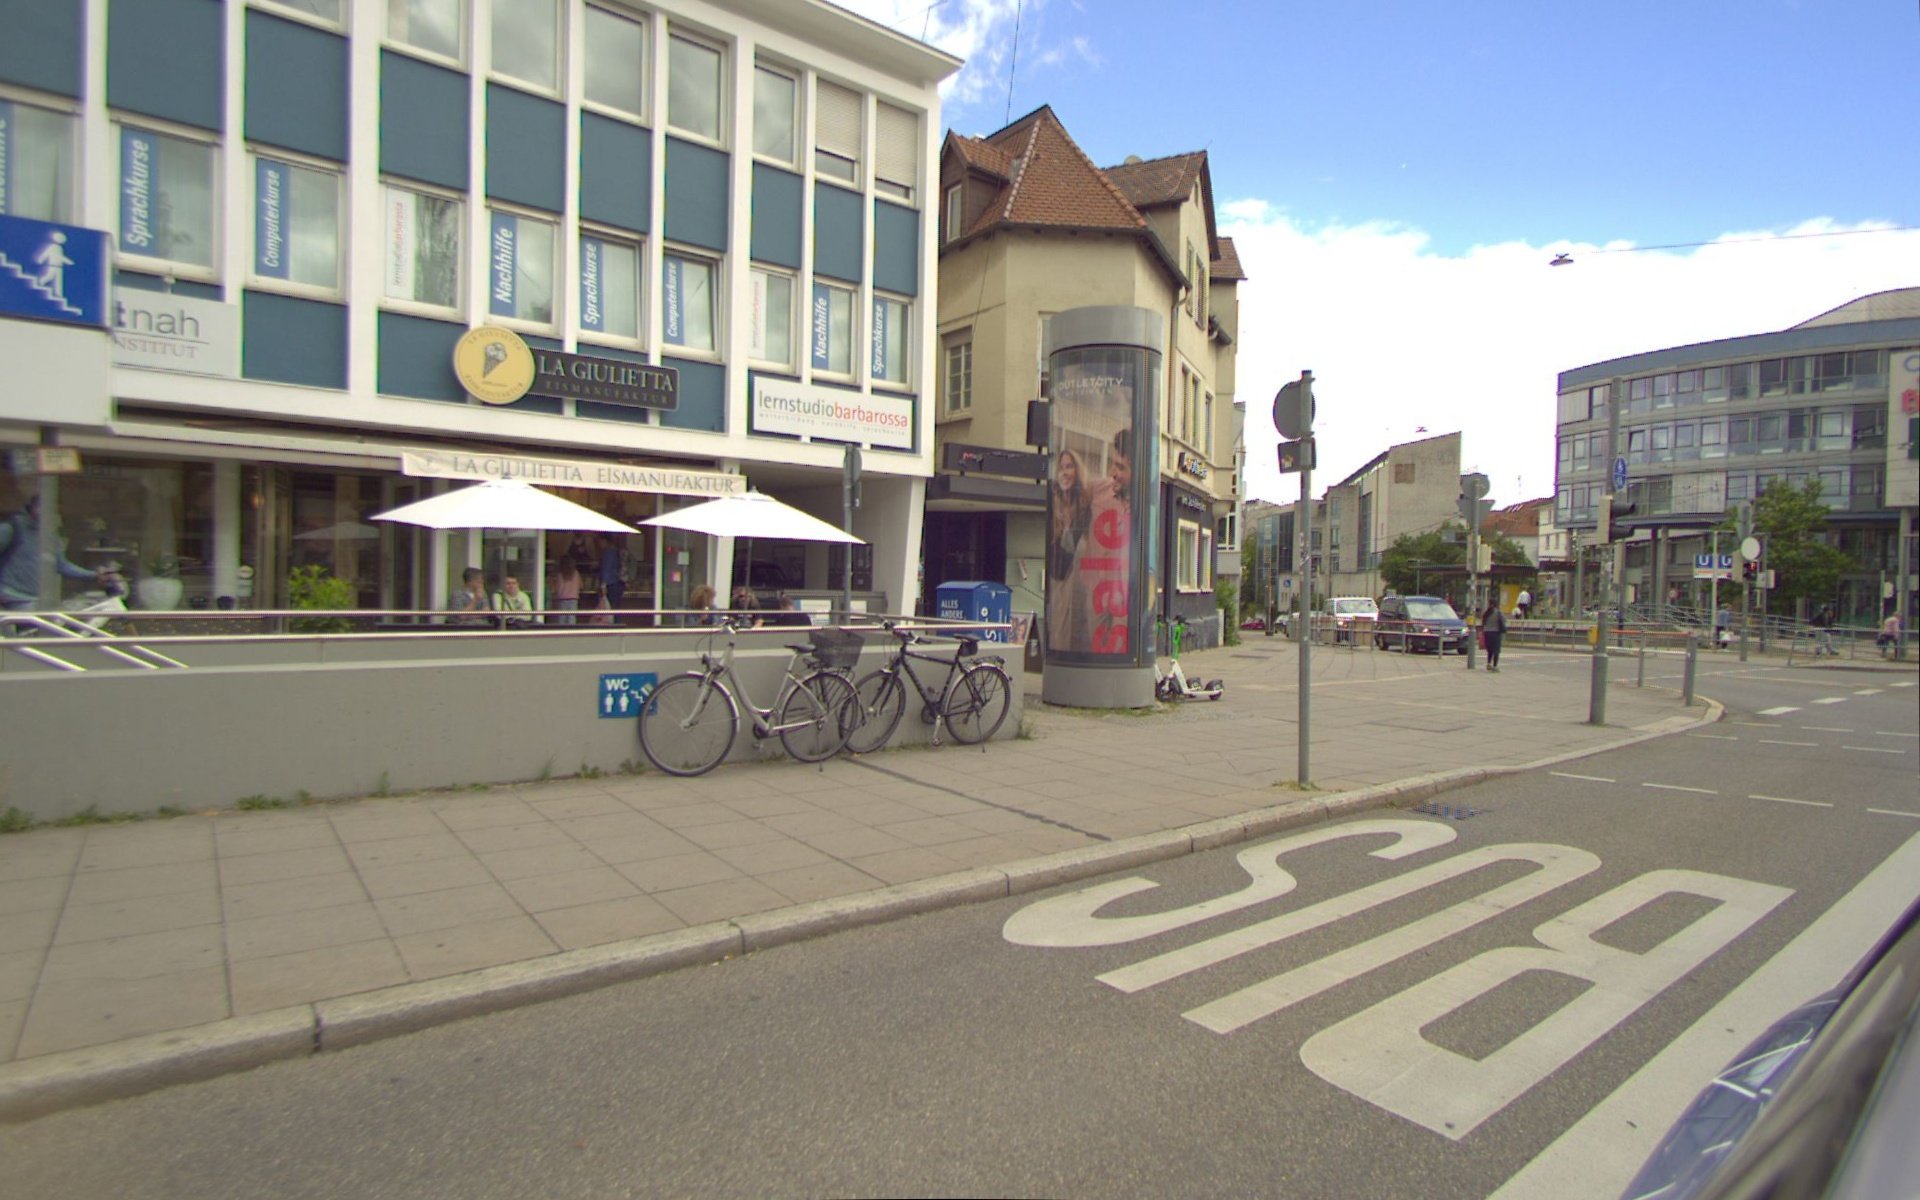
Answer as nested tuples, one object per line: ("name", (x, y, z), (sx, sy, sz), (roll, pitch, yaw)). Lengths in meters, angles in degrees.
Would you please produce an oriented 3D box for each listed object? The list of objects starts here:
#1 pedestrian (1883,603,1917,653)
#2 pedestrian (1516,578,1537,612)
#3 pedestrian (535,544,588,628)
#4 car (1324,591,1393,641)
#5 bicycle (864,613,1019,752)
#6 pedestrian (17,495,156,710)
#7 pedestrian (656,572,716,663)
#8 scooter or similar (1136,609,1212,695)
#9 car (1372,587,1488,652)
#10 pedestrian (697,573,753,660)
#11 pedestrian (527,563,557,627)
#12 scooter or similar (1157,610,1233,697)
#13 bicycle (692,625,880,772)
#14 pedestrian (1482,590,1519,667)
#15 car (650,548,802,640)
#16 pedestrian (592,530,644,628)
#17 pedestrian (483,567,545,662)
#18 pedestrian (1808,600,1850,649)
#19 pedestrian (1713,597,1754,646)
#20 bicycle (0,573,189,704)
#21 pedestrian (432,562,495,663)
("pedestrian", (30.977, 0.920, 33.352), (0.578, 1.656, 0.525), (-1, -2, 6))
("pedestrian", (29.589, -0.271, 52.857), (0.682, 1.766, 0.615), (0, -2, -2))
("pedestrian", (-6.008, -0.192, 15.255), (0.577, 1.236, 0.614), (1, -3, -39))
("car", (16.402, 0.613, 41.846), (1.852, 1.919, 4.909), (1, 1, 12))
("bicycle", (-0.133, 0.649, 8.376), (1.361, 1.066, 0.274), (1, 1, -38))
("pedestrian", (-7.118, 0.017, 8.286), (0.786, 1.655, 0.668), (1, 0, -37))
("pedestrian", (-3.870, 0.236, 14.299), (0.577, 1.235, 0.614), (1, 1, -41))
("scooter or similar", (2.998, 0.708, 14.144), (1.186, 1.147, 0.315), (1, 1, -38))
("car", (15.108, 0.559, 32.852), (1.847, 1.919, 4.920), (1, 1, 6))
("pedestrian", (-3.420, 0.240, 14.727), (0.577, 1.236, 0.614), (1, -3, -41))
("pedestrian", (-6.330, -0.068, 15.340), (0.347, 0.955, 0.301), (1, -3, -38))
("scooter or similar", (3.233, 0.715, 13.887), (1.186, 1.147, 0.315), (1, 1, -38))
("bicycle", (-1.246, 0.683, 7.419), (1.361, 0.986, 0.274), (1, 1, -38))
("pedestrian", (11.734, 0.626, 21.988), (0.580, 1.643, 0.739), (-1, -2, 20))
("car", (-4.898, -0.130, 20.834), (1.702, 1.687, 3.980), (1, 0, -34))
("pedestrian", (-5.312, -0.304, 15.705), (0.577, 1.480, 0.614), (1, -3, -39))
("pedestrian", (-5.972, 0.186, 13.548), (0.577, 1.235, 0.614), (1, 0, -41))
("pedestrian", (29.480, 0.828, 34.352), (0.834, 1.656, 0.641), (-1, -2, 19))
("pedestrian", (27.212, 0.746, 35.608), (0.794, 1.668, 0.885), (1, 0, 13))
("bicycle", (-7.026, 0.296, 8.083), (1.362, 0.986, 0.274), (1, 1, -39))
("pedestrian", (-6.307, 0.164, 12.853), (0.577, 1.236, 0.614), (1, -3, -41))
